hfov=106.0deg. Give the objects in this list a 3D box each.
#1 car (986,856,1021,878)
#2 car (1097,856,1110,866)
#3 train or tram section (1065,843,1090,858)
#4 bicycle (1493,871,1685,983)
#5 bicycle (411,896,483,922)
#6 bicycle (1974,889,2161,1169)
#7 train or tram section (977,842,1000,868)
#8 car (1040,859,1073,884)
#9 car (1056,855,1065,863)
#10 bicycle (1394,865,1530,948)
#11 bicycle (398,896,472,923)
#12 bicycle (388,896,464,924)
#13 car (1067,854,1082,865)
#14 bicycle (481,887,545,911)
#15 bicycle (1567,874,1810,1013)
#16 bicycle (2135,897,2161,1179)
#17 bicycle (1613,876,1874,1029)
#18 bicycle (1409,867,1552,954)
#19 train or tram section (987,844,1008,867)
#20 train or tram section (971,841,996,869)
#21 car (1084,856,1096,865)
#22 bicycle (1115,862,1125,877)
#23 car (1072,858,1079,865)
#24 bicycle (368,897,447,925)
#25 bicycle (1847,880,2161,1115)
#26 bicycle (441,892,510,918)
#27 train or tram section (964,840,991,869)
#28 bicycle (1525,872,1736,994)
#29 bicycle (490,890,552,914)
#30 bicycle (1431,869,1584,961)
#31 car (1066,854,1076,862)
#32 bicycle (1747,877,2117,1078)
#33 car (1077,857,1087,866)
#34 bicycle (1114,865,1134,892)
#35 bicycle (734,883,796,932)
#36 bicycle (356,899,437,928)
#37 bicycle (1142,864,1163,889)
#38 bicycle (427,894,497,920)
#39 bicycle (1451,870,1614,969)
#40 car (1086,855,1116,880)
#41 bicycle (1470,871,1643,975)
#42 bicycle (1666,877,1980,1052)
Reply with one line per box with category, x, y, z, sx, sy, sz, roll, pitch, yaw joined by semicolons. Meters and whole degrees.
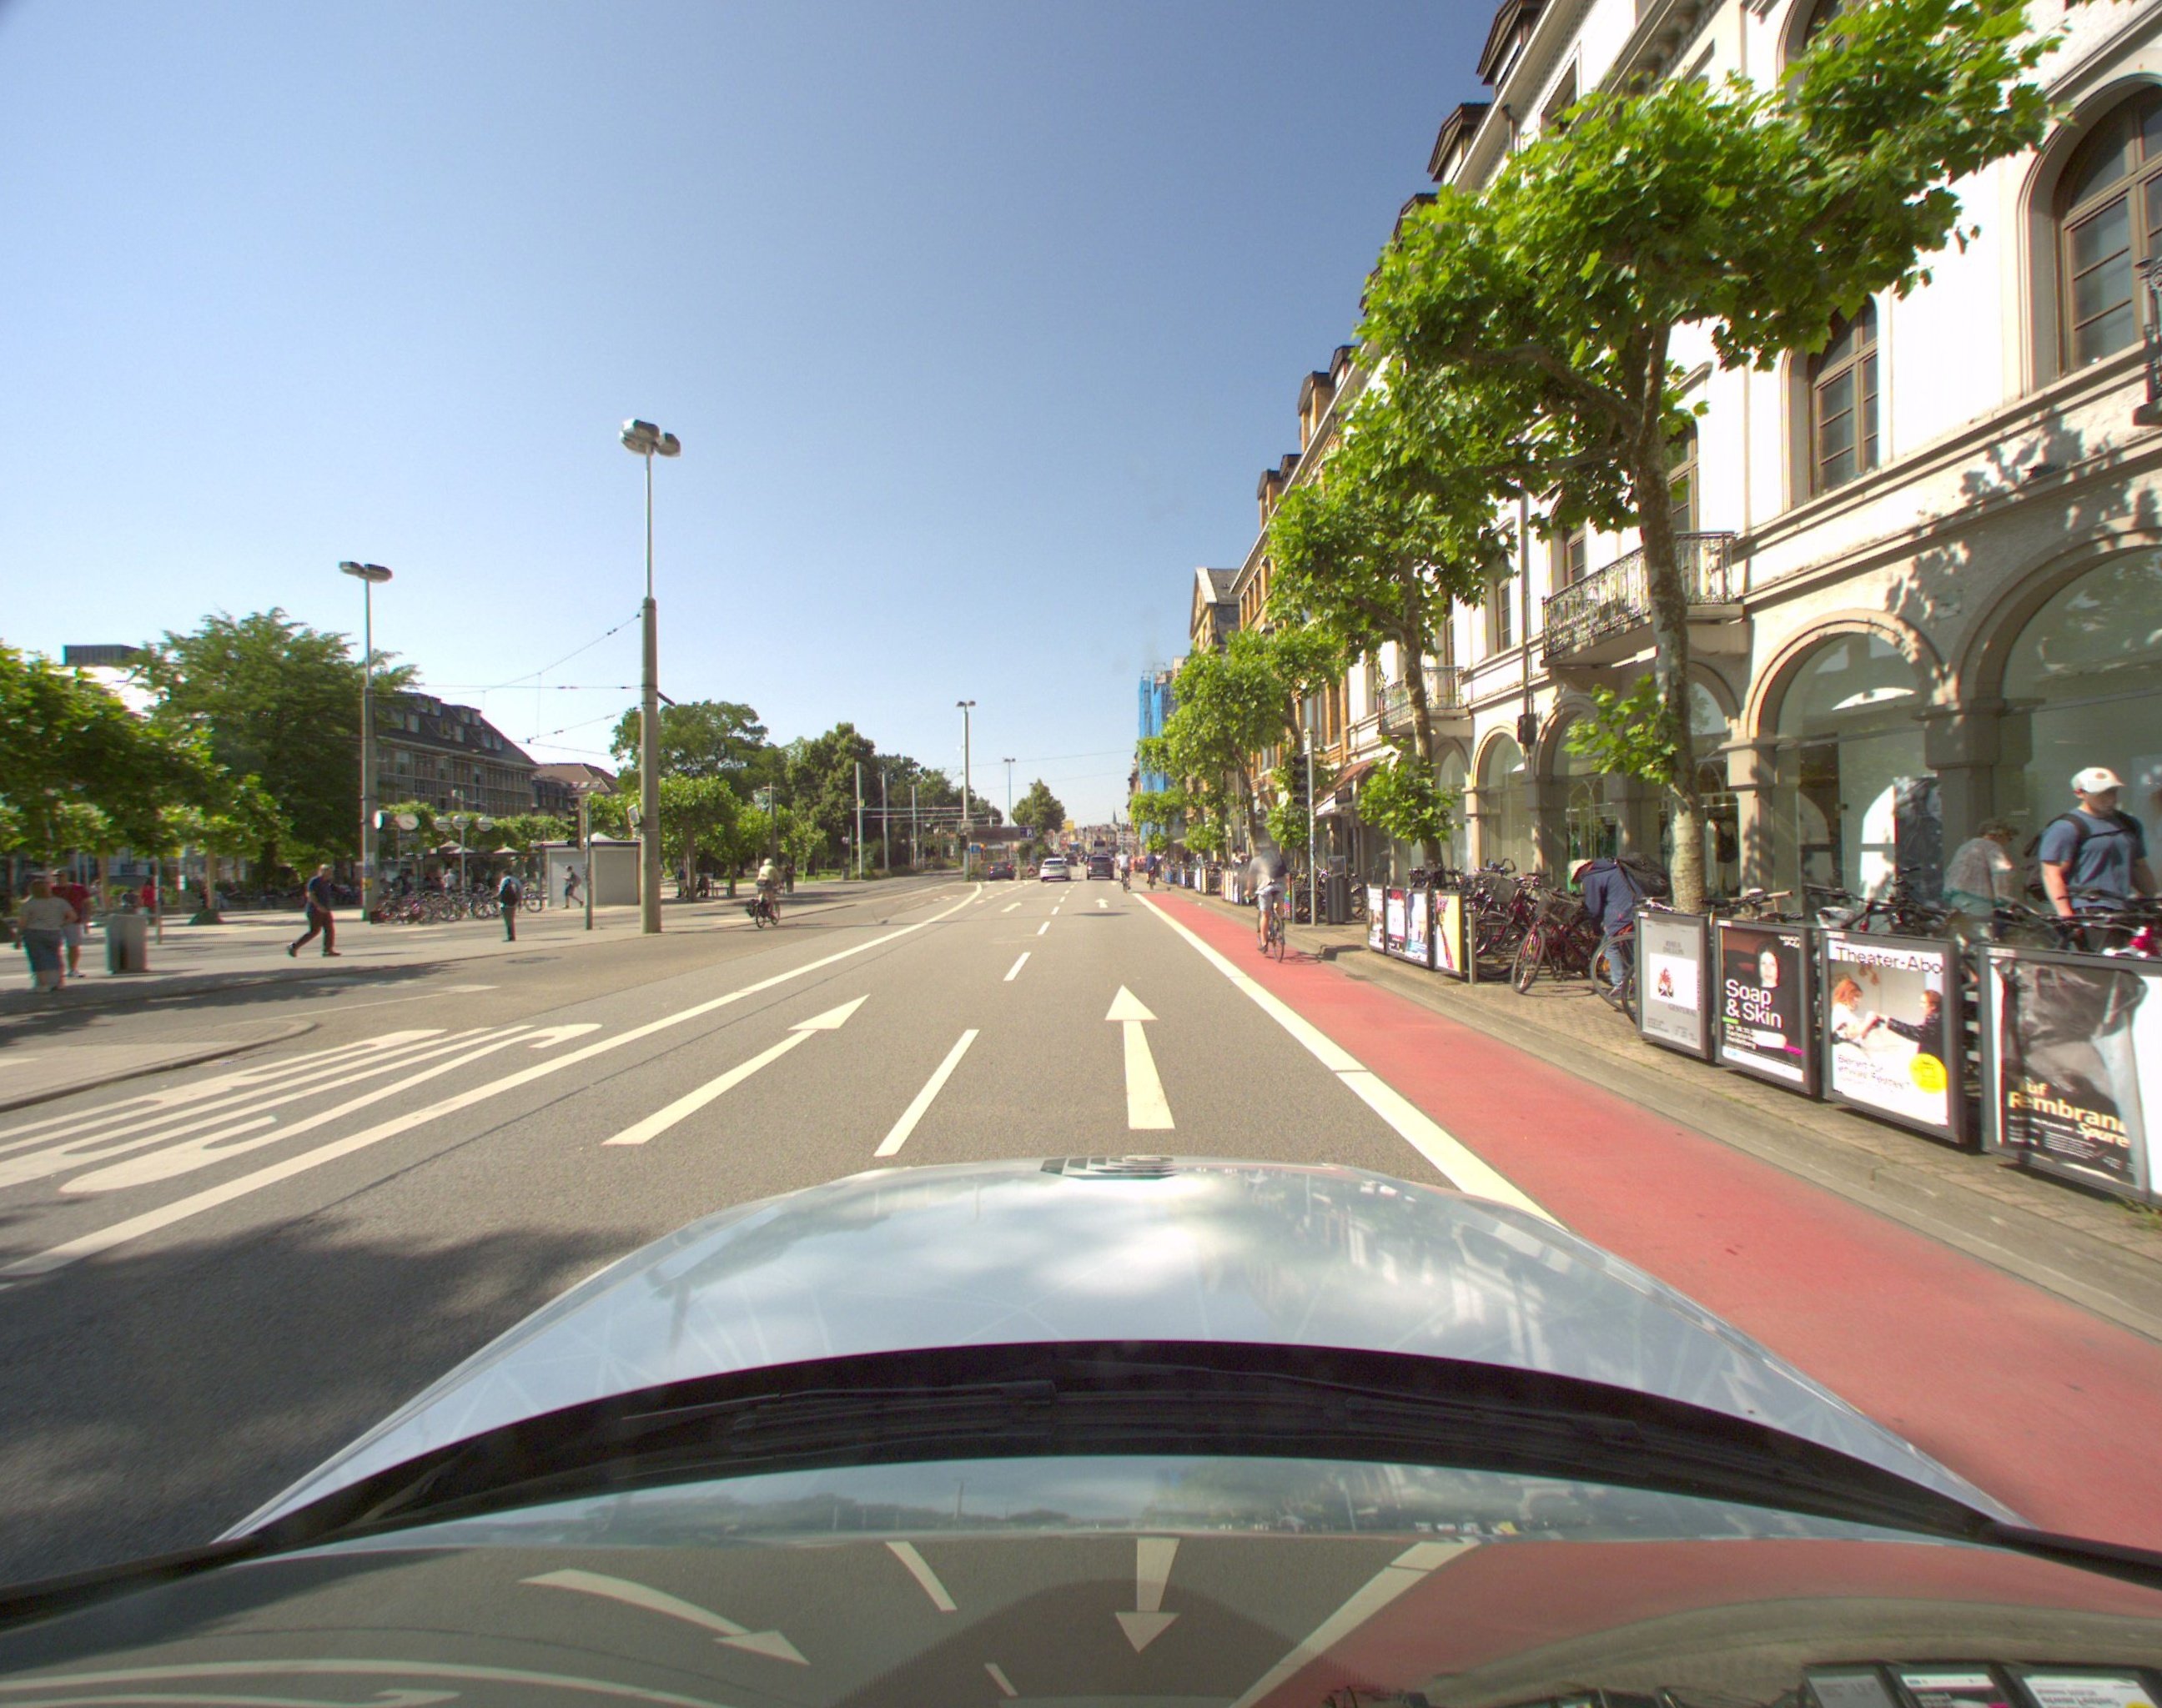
car;-5.585;0.952;59.003;1.986;1.508;4.001;1;0;1
car;3.432;1.018;124.528;1.986;1.493;4.001;1;0;1
train or tram section;-0.732;-0.791;208.494;2.798;3.581;10.084;1;-1;21
bicycle;5.542;0.778;8.933;1.748;1.147;0.592;-1;-1;-2
bicycle;-21.691;1.874;27.902;1.866;0.856;0.544;1;-1;-13
bicycle;5.317;0.746;3.771;1.748;1.147;0.592;-1;-1;-2
train or tram section;-13.014;0.158;114.936;2.605;3.581;5.356;1;-1;0
car;-1.498;1.107;52.011;1.852;1.507;4.001;1;0;1
car;-3.674;0.920;145.093;1.446;1.301;4.001;1;0;1
bicycle;5.528;0.752;11.853;1.748;1.147;0.482;-1;-1;-2
bicycle;-21.653;1.854;27.307;1.866;0.856;0.544;1;-1;-13
bicycle;-21.520;1.837;26.781;1.866;0.856;0.544;1;-1;-13
car;-0.816;0.730;105.427;1.809;1.332;4.001;1;0;1
bicycle;-21.344;1.684;30.654;1.866;0.869;0.579;1;-1;-13
bicycle;5.383;0.769;7.271;1.748;1.147;0.592;-1;-1;-2
bicycle;5.298;0.743;3.138;1.748;1.147;0.592;-1;-1;-2
bicycle;5.298;0.765;6.560;1.698;1.147;0.519;-1;-1;-2
bicycle;5.501;0.760;11.255;1.748;1.147;0.482;-1;-1;-2
train or tram section;-12.973;0.249;127.546;2.605;3.581;6.016;1;-1;0
train or tram section;-13.046;0.116;109.197;2.605;3.581;6.103;1;-1;0
car;1.211;0.881;110.921;1.448;1.301;3.338;1;0;-3
bicycle;3.015;1.198;63.153;0.732;1.093;1.897;1;-1;0
car;-1.050;1.384;155.530;1.447;1.301;3.341;1;0;0
bicycle;-21.624;1.822;26.191;1.866;0.872;0.581;1;-1;-13
bicycle;5.323;0.734;4.446;1.748;1.147;0.592;-1;-1;-2
bicycle;-21.781;1.831;29.323;1.866;0.869;0.579;1;-1;-13
train or tram section;-13.059;0.072;103.098;2.605;3.581;6.103;1;-1;0
bicycle;5.519;0.775;8.237;1.748;1.147;0.592;-1;-1;-2
bicycle;-21.464;1.849;31.228;1.866;0.869;0.579;1;-1;-13
bicycle;5.540;0.779;10.607;1.748;1.147;0.482;-1;-1;-2
car;-1.676;0.756;138.057;1.446;1.301;4.001;1;0;1
bicycle;5.298;0.735;5.129;1.748;1.147;0.592;-1;-1;-2
car;0.192;1.175;123.888;1.446;1.301;3.343;1;0;1
bicycle;1.825;1.039;34.777;0.732;1.093;1.897;1;-1;-1
bicycle;-8.252;1.386;21.358;0.815;1.120;1.874;-4;-1;1
bicycle;-21.460;1.864;25.567;1.866;0.856;0.544;1;-1;-13
bicycle;3.231;1.013;37.009;0.732;1.093;1.910;1;-1;-1
bicycle;-21.639;1.851;28.482;1.866;0.856;0.544;1;-1;-13
bicycle;5.531;0.786;10.009;1.748;1.147;0.482;-1;-1;-2
car;1.306;0.868;53.445;1.867;1.493;4.001;1;0;1
bicycle;5.523;0.782;9.494;1.748;1.147;0.482;-1;-1;-2
bicycle;5.296;0.760;5.872;1.748;1.147;0.592;-1;-1;-2
